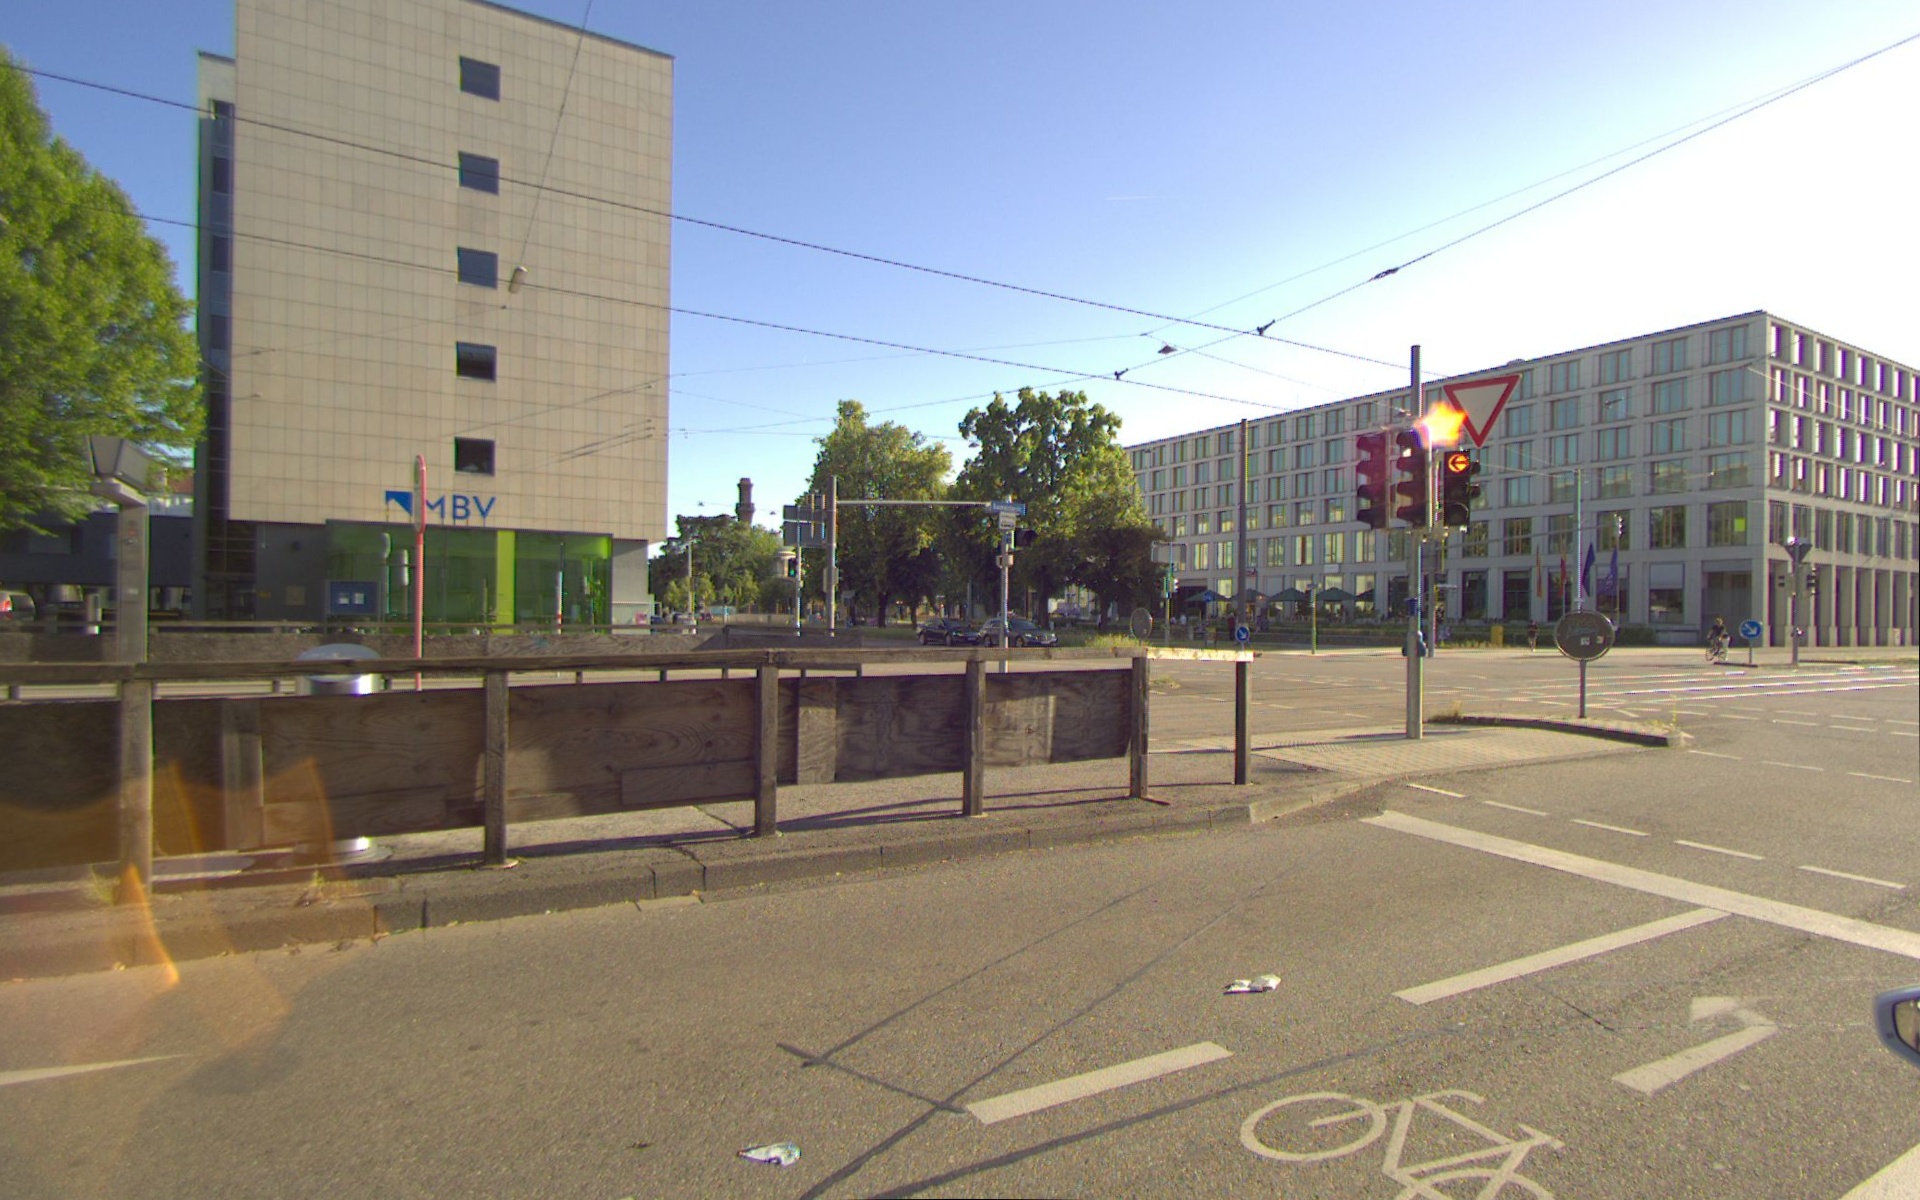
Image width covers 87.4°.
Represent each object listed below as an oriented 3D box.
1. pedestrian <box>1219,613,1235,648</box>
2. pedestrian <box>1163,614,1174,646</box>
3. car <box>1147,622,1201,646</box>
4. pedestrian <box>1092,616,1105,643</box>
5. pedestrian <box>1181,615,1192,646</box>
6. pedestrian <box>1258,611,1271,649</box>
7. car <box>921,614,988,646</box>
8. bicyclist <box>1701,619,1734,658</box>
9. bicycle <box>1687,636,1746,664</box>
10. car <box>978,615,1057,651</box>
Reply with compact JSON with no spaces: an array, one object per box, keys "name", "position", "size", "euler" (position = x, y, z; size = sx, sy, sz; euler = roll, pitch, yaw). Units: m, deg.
[{"name":"pedestrian","position":[16.437,1.884,61.765],"size":[0.644,2.095,0.645],"euler":[4,-2,-36]},{"name":"pedestrian","position":[13.457,1.942,64.817],"size":[0.483,2.040,0.493],"euler":[1,-1,-17]},{"name":"car","position":[13.478,2.134,63.369],"size":[1.458,1.457,3.160],"euler":[1,-1,-38]},{"name":"pedestrian","position":[9.921,2.110,71.888],"size":[0.672,1.928,0.560],"euler":[1,-1,-21]},{"name":"pedestrian","position":[14.687,1.980,65.211],"size":[0.483,2.040,0.493],"euler":[1,-1,-17]},{"name":"pedestrian","position":[18.550,1.820,61.252],"size":[0.528,2.310,0.565],"euler":[1,-1,-36]},{"name":"car","position":[-0.342,1.560,52.957],"size":[1.801,1.595,3.967],"euler":[0,0,-31]},{"name":"bicyclist","position":[32.177,1.625,42.657],"size":[0.812,1.663,0.872],"euler":[1,-1,-29]},{"name":"bicycle","position":[32.123,2.093,42.639],"size":[2.976,1.136,0.871],"euler":[1,-1,-29]},{"name":"car","position":[2.684,1.531,47.579],"size":[1.708,1.595,4.140],"euler":[1,-1,-31]}]
